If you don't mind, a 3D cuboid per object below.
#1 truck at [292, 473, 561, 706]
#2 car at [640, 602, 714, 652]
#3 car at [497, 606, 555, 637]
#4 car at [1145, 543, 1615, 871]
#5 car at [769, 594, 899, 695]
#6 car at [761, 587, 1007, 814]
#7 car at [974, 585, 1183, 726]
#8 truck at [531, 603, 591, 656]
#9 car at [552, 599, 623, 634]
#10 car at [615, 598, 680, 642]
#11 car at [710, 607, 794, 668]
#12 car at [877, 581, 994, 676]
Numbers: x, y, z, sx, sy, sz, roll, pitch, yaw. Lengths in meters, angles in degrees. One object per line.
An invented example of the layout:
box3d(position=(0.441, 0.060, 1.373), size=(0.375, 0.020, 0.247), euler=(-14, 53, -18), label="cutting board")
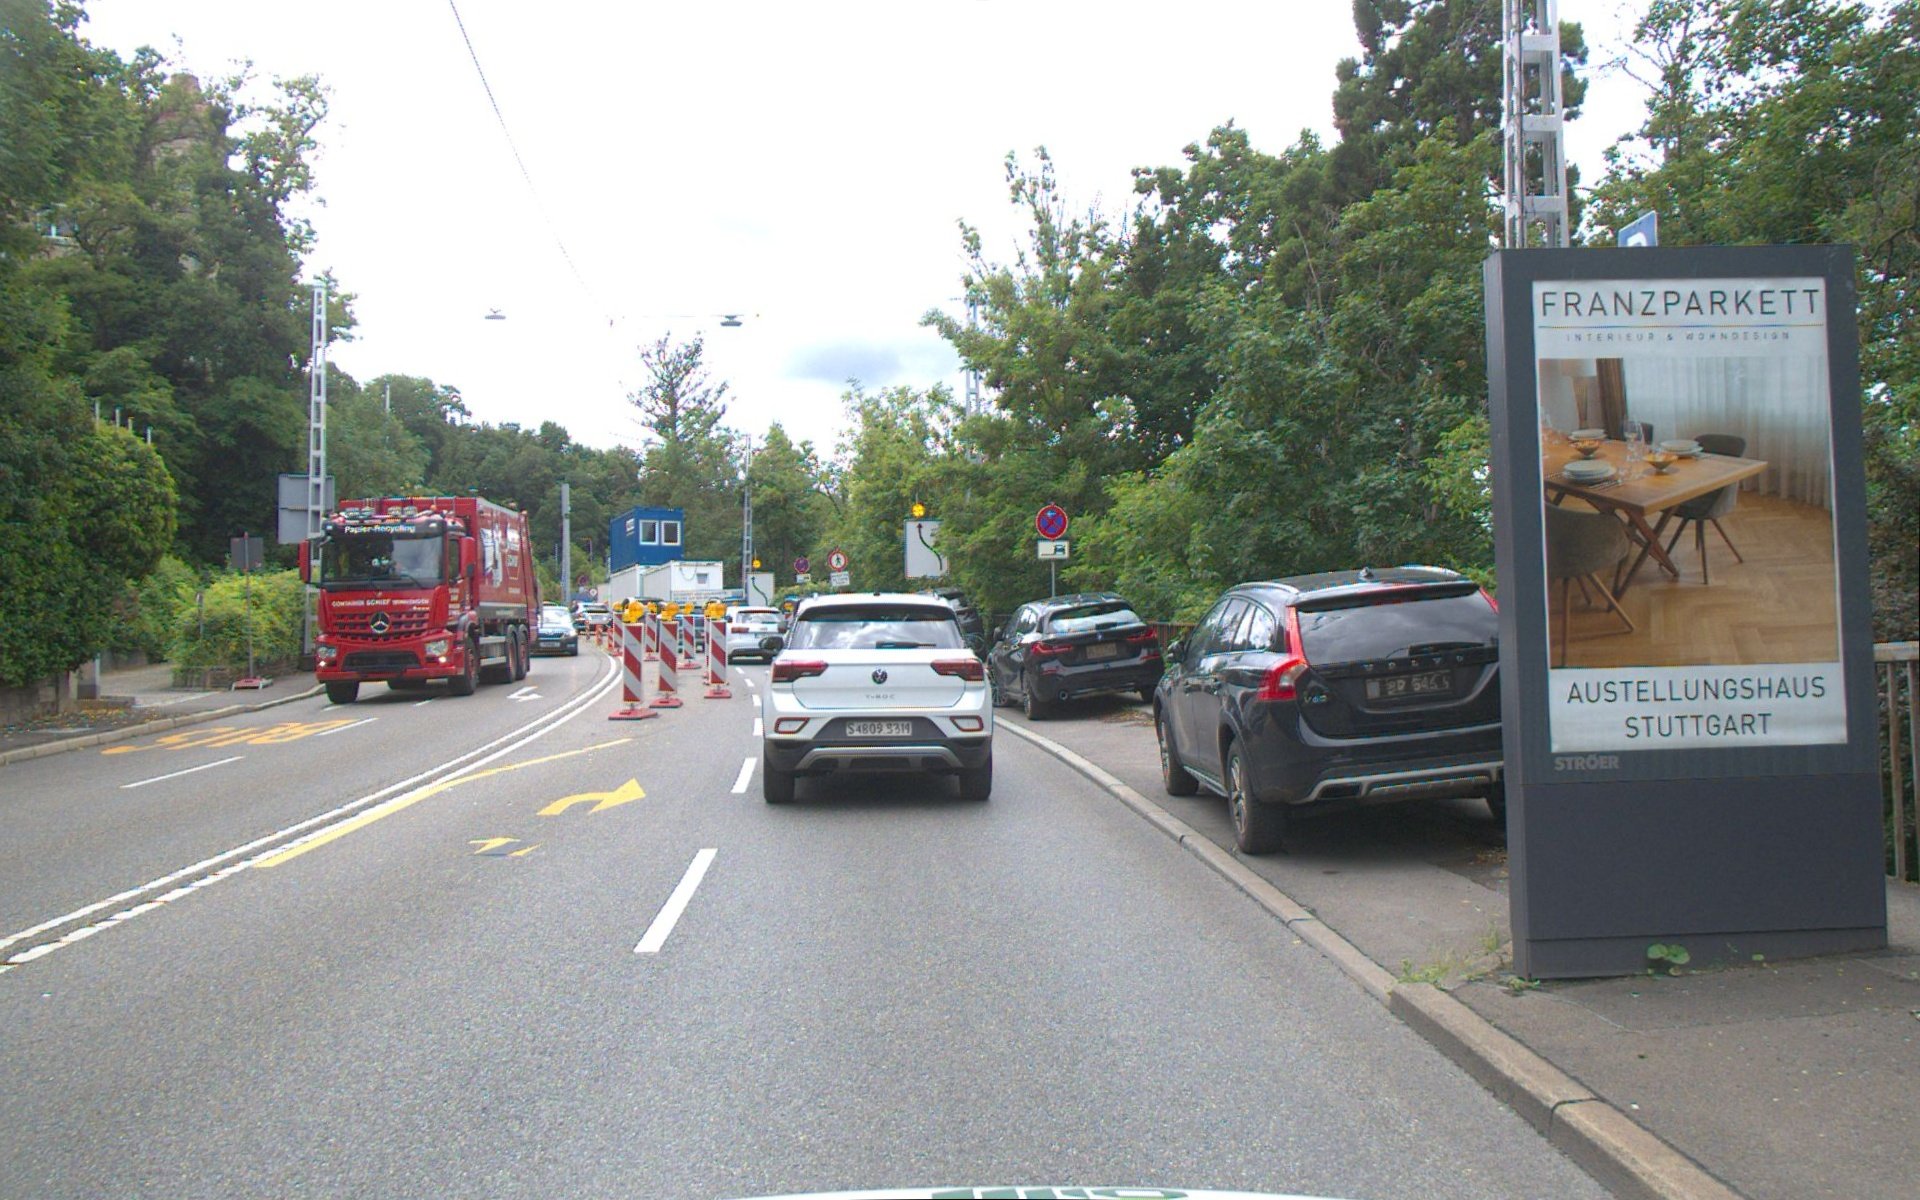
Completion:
box3d(position=(-10.147, -0.179, 32.751), size=(2.889, 3.762, 9.906), euler=(-3, 0, -6), label="truck")
box3d(position=(-9.148, 0.887, 53.288), size=(1.961, 1.439, 4.134), euler=(-2, -1, -15), label="car")
box3d(position=(-22.782, 1.146, 86.730), size=(1.973, 1.475, 4.108), euler=(-2, -1, -30), label="car")
box3d(position=(2.449, 0.553, 10.857), size=(1.730, 1.548, 4.392), euler=(-5, 0, -2), label="car")
box3d(position=(-2.269, 0.730, 28.954), size=(1.727, 1.638, 3.783), euler=(-1, 0, -13), label="car")
box3d(position=(-0.614, 0.712, 13.608), size=(1.722, 1.583, 3.793), euler=(-1, 0, -2), label="car")
box3d(position=(1.454, 0.668, 21.936), size=(1.775, 1.488, 4.186), euler=(-7, 1, -8), label="car")
box3d(position=(-12.013, 0.862, 49.738), size=(1.634, 1.468, 4.011), euler=(-2, 0, -14), label="truck")
box3d(position=(-17.135, 0.765, 75.895), size=(1.974, 1.475, 4.106), euler=(-2, -1, -31), label="car")
box3d(position=(-11.970, 0.740, 63.224), size=(1.962, 1.583, 4.130), euler=(-1, 1, -17), label="car")
box3d(position=(-5.493, 0.943, 43.399), size=(1.728, 1.497, 3.781), euler=(-1, 0, -14), label="car")
box3d(position=(-0.605, 0.598, 36.294), size=(1.817, 1.684, 4.134), euler=(-9, 1, -8), label="car")
